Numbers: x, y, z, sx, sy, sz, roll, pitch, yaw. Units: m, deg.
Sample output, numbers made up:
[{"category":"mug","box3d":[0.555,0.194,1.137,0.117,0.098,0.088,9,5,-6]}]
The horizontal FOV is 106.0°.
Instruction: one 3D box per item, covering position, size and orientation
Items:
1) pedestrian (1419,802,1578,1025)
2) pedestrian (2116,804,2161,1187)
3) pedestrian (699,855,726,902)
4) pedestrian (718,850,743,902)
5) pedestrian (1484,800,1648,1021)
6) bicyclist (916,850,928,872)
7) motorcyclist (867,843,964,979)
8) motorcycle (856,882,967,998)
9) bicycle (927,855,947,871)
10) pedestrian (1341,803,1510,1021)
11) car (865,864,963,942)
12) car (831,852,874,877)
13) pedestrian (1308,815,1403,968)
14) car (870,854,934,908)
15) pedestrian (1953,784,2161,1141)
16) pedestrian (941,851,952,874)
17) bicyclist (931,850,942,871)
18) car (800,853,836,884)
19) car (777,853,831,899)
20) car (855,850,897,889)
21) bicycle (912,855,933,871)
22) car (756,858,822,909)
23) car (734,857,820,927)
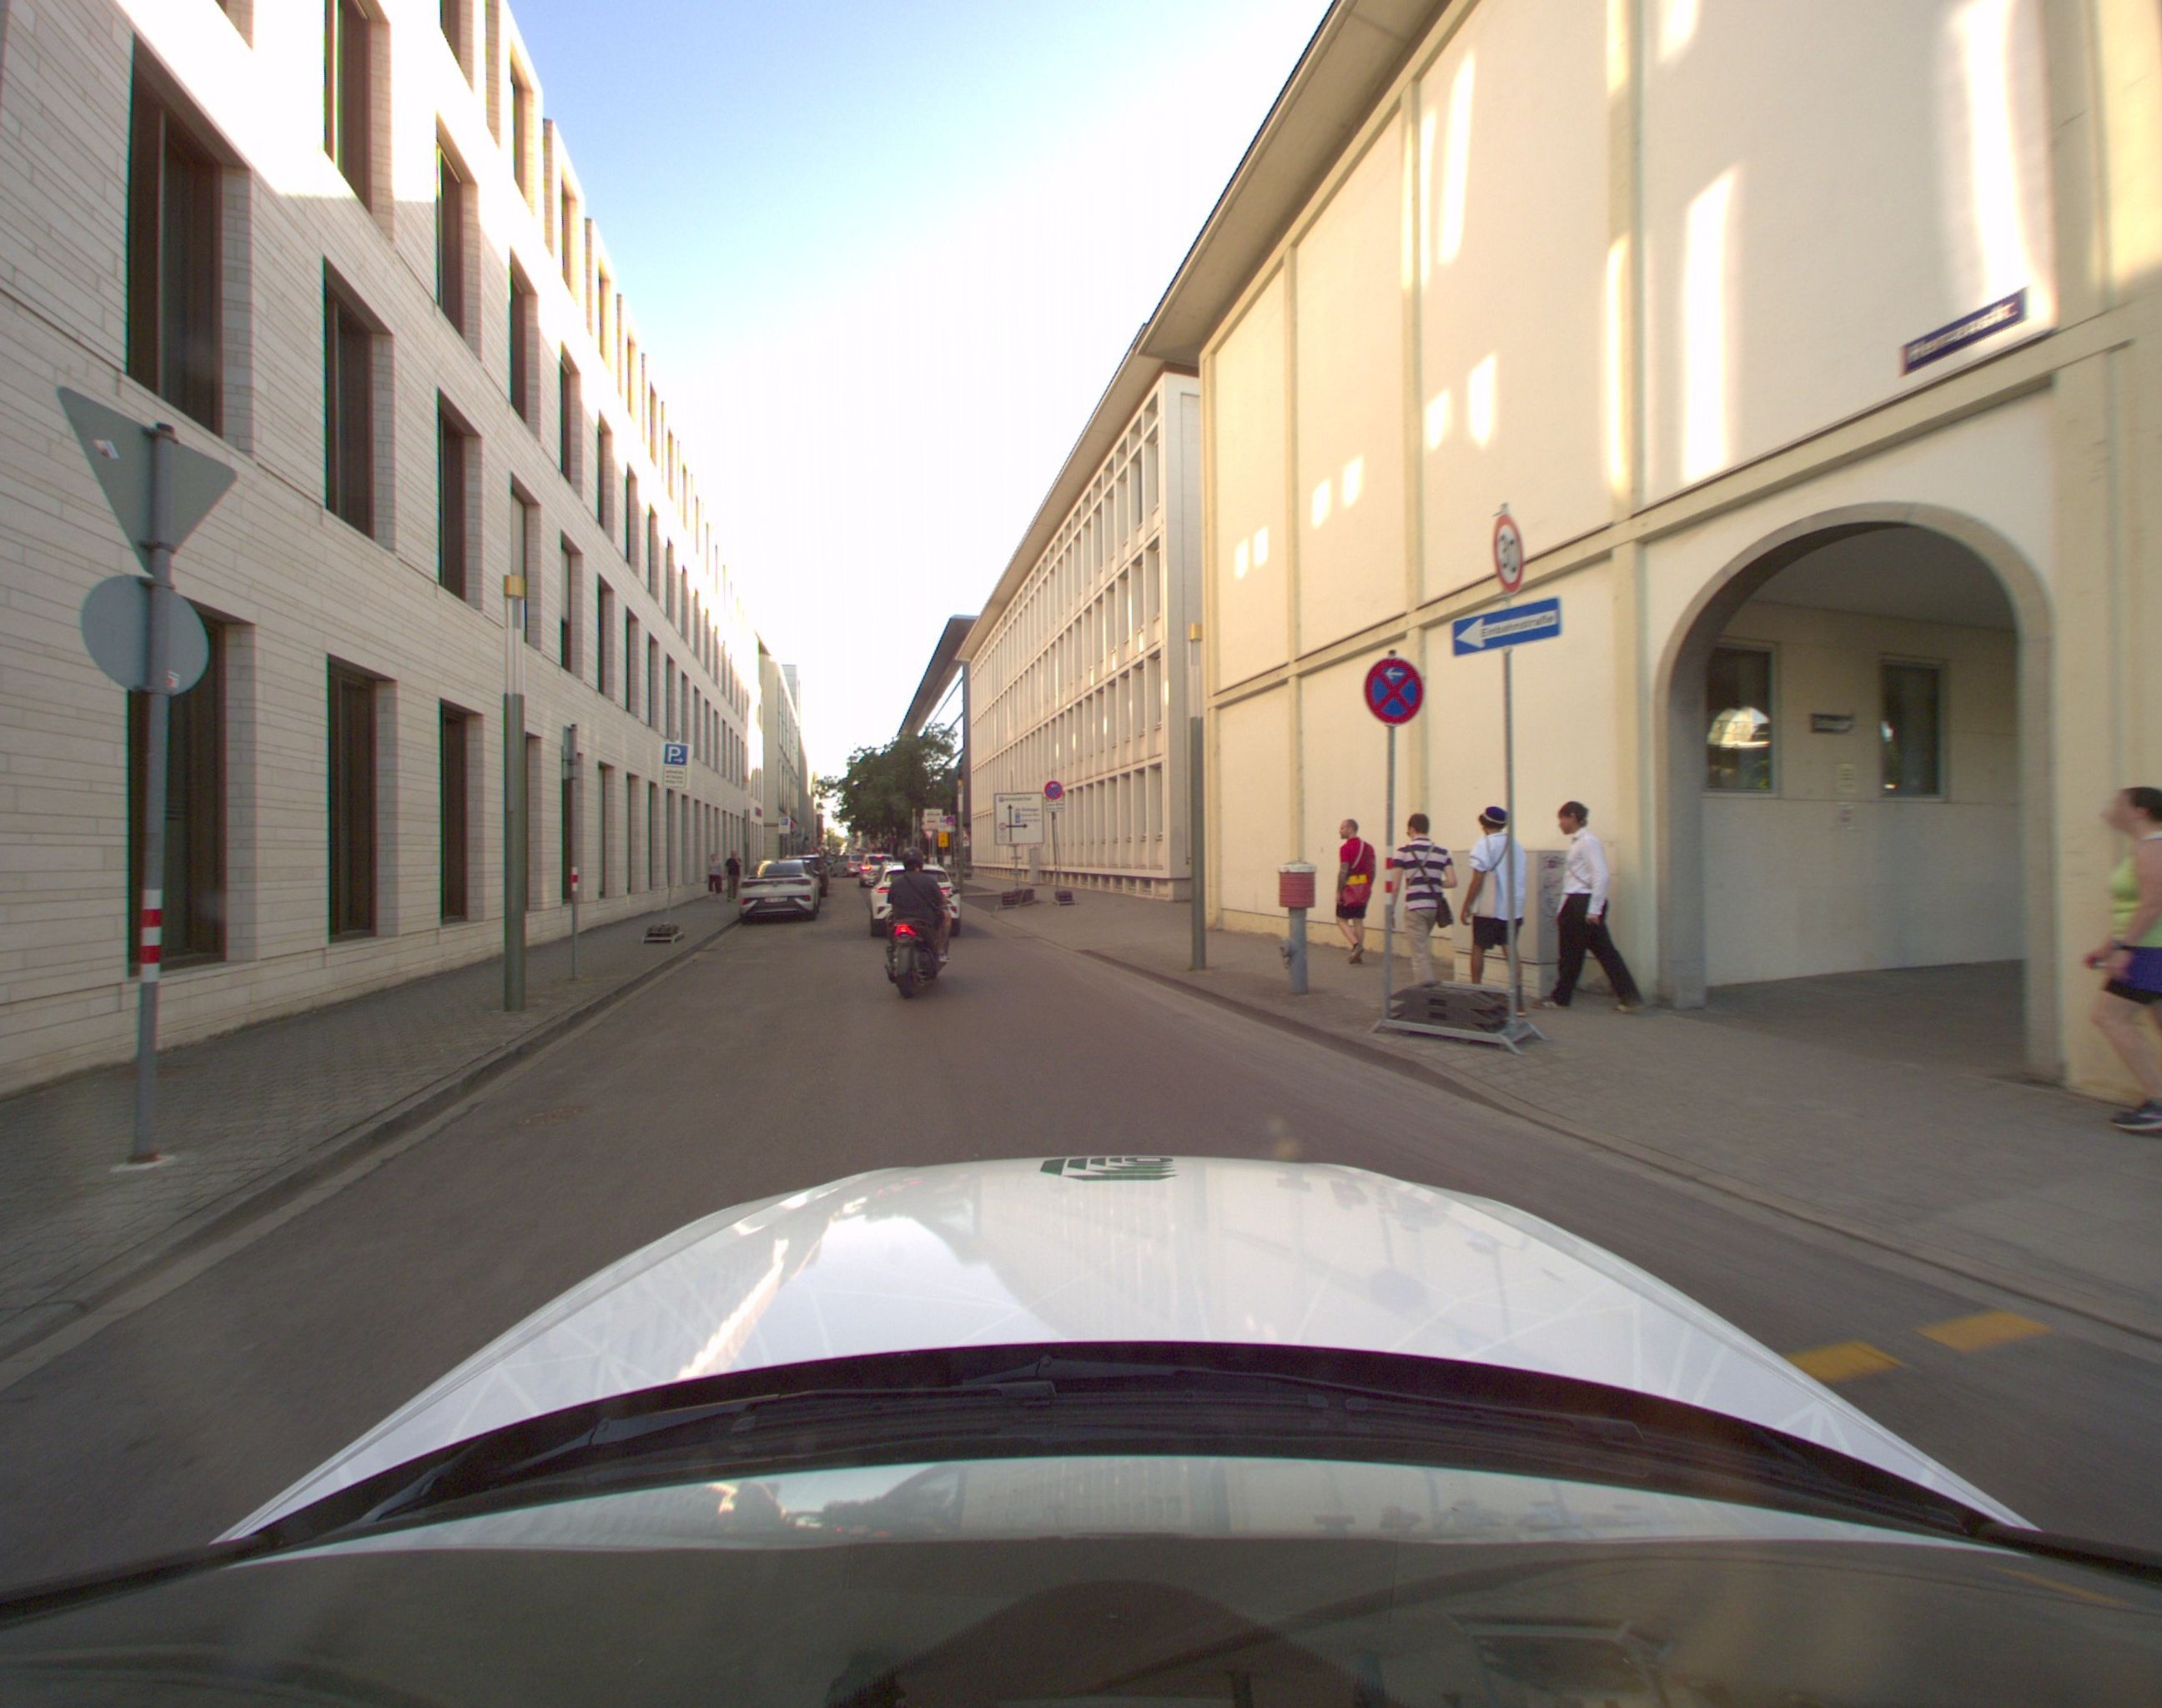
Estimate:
[{"category":"pedestrian","box3d":[3.639,0.477,7.157,0.711,1.777,0.936,-4,1,-17]},{"category":"pedestrian","box3d":[4.928,0.593,3.293,0.619,1.624,0.723,-4,1,-17]},{"category":"pedestrian","box3d":[-13.112,0.866,28.998,0.706,1.613,0.856,-2,0,-16]},{"category":"pedestrian","box3d":[-12.331,0.761,28.665,0.706,1.786,0.723,-2,0,-17]},{"category":"pedestrian","box3d":[4.250,0.457,7.193,0.711,1.777,0.936,-4,1,-17]},{"category":"bicyclist","box3d":[-12.889,0.574,65.916,0.743,1.706,0.738,-2,0,5]},{"category":"motorcyclist","box3d":[-2.022,0.669,10.124,0.951,1.559,1.238,-2,-1,-2]},{"category":"motorcycle","box3d":[-2.032,0.979,10.178,0.903,1.183,2.576,-2,-1,-2]},{"category":"bicycle","box3d":[-11.891,0.729,67.312,1.556,1.249,0.553,-2,0,4]},{"category":"pedestrian","box3d":[3.133,0.482,7.524,0.716,1.801,1.240,-4,1,-17]},{"category":"car","box3d":[-3.698,0.972,17.930,1.861,1.472,3.983,1,0,-13]},{"category":"car","box3d":[-15.976,0.718,56.754,1.911,1.596,3.961,-1,0,-31]},{"category":"pedestrian","box3d":[3.422,0.445,10.198,0.711,1.801,0.771,-4,1,-17]},{"category":"car","box3d":[-5.861,0.814,26.363,1.777,1.550,4.085,-2,0,-16]},{"category":"pedestrian","box3d":[5.409,0.505,4.234,0.675,1.709,0.962,-4,1,-17]},{"category":"pedestrian","box3d":[-9.390,0.571,56.941,0.644,1.601,0.617,-2,0,-14]},{"category":"bicyclist","box3d":[-11.933,0.525,67.310,0.743,1.706,0.738,-2,0,5]},{"category":"car","box3d":[-14.577,0.780,45.261,1.780,1.606,3.496,-2,1,-16]},{"category":"car","box3d":[-11.052,0.837,32.686,1.815,1.645,3.496,-2,1,-16]},{"category":"car","box3d":[-10.637,0.748,42.110,1.929,1.856,3.978,-2,0,-16]},{"category":"bicycle","box3d":[-12.839,0.732,65.875,1.556,1.249,0.553,-2,0,4]},{"category":"car","box3d":[-9.777,0.927,27.481,1.815,1.527,3.496,-2,1,-16]},{"category":"car","box3d":[-8.075,0.918,21.977,1.815,1.606,4.243,-2,1,-16]}]
